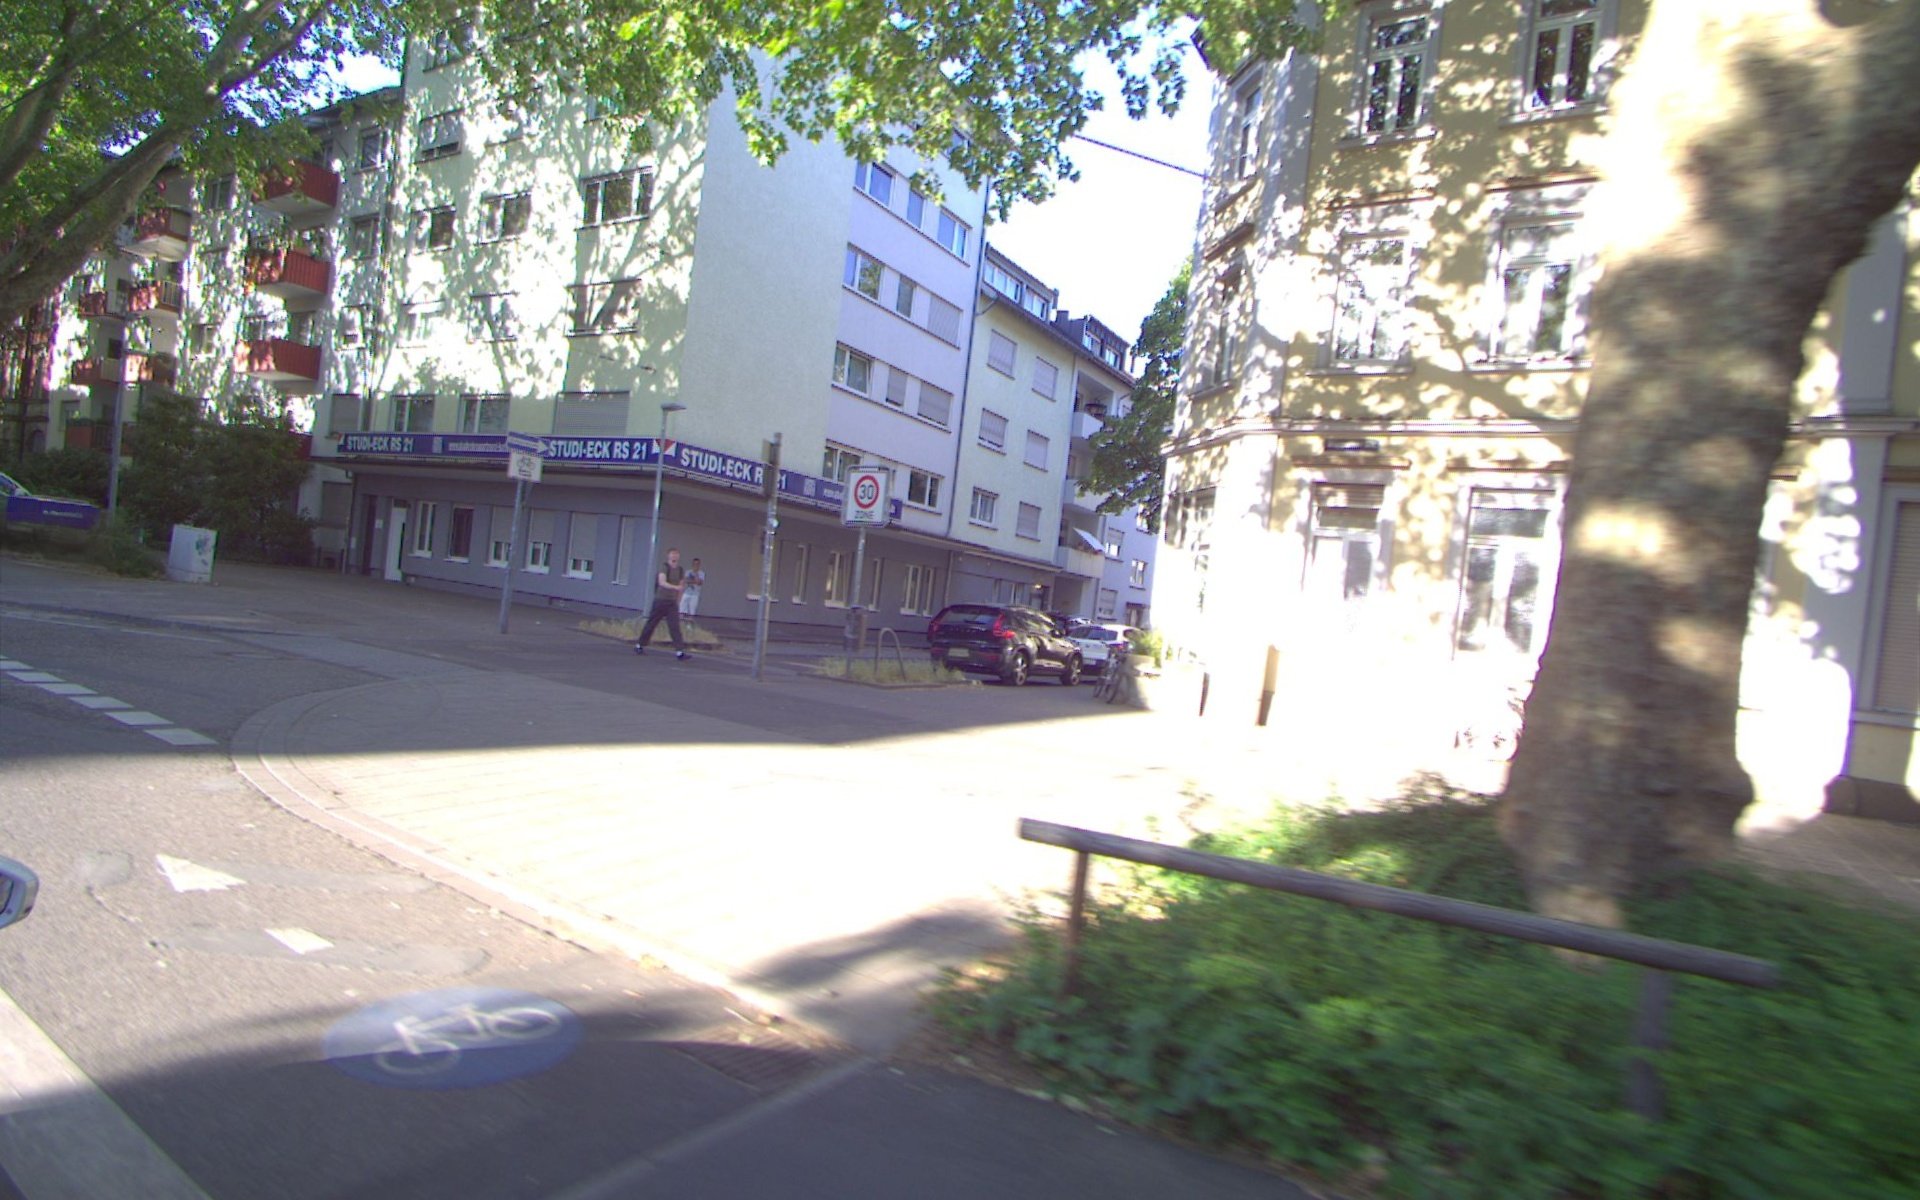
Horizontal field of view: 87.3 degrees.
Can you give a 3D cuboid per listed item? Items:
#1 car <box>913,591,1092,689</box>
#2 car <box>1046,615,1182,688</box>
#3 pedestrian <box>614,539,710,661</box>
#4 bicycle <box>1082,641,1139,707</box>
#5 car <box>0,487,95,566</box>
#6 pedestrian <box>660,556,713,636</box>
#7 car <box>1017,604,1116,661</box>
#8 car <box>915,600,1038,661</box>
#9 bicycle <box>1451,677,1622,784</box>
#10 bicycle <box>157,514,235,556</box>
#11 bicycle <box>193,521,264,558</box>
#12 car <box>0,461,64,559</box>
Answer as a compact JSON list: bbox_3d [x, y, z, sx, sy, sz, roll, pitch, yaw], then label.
[{"bbox_3d":[0.998,0.866,20.773,1.965,1.613,4.139,7,0,28],"label":"car"},{"bbox_3d":[3.978,1.321,25.342,1.966,1.522,4.138,5,-1,29],"label":"car"},{"bbox_3d":[-4.981,-0.001,16.821,1.168,1.890,0.767,7,1,29],"label":"pedestrian"},{"bbox_3d":[2.679,1.300,18.060,0.559,1.019,1.835,7,-1,-3],"label":"bicycle"},{"bbox_3d":[-20.911,-1.717,20.705,1.800,1.497,4.302,7,0,31],"label":"car"},{"bbox_3d":[-6.075,-0.090,22.356,0.655,1.665,0.746,7,1,34],"label":"pedestrian"},{"bbox_3d":[3.950,1.215,36.765,1.966,1.626,4.138,9,1,29],"label":"car"},{"bbox_3d":[0.584,0.987,31.462,1.966,1.440,4.138,9,1,29],"label":"car"},{"bbox_3d":[7.857,1.744,13.769,1.891,1.119,0.582,7,3,32],"label":"bicycle"},{"bbox_3d":[-24.941,-2.111,32.863,0.562,1.172,1.948,6,2,25],"label":"bicycle"},{"bbox_3d":[-24.408,-2.015,33.604,0.607,1.055,1.793,7,2,28],"label":"bicycle"},{"bbox_3d":[-23.012,-2.240,22.050,1.967,2.102,4.550,7,0,30],"label":"car"}]
